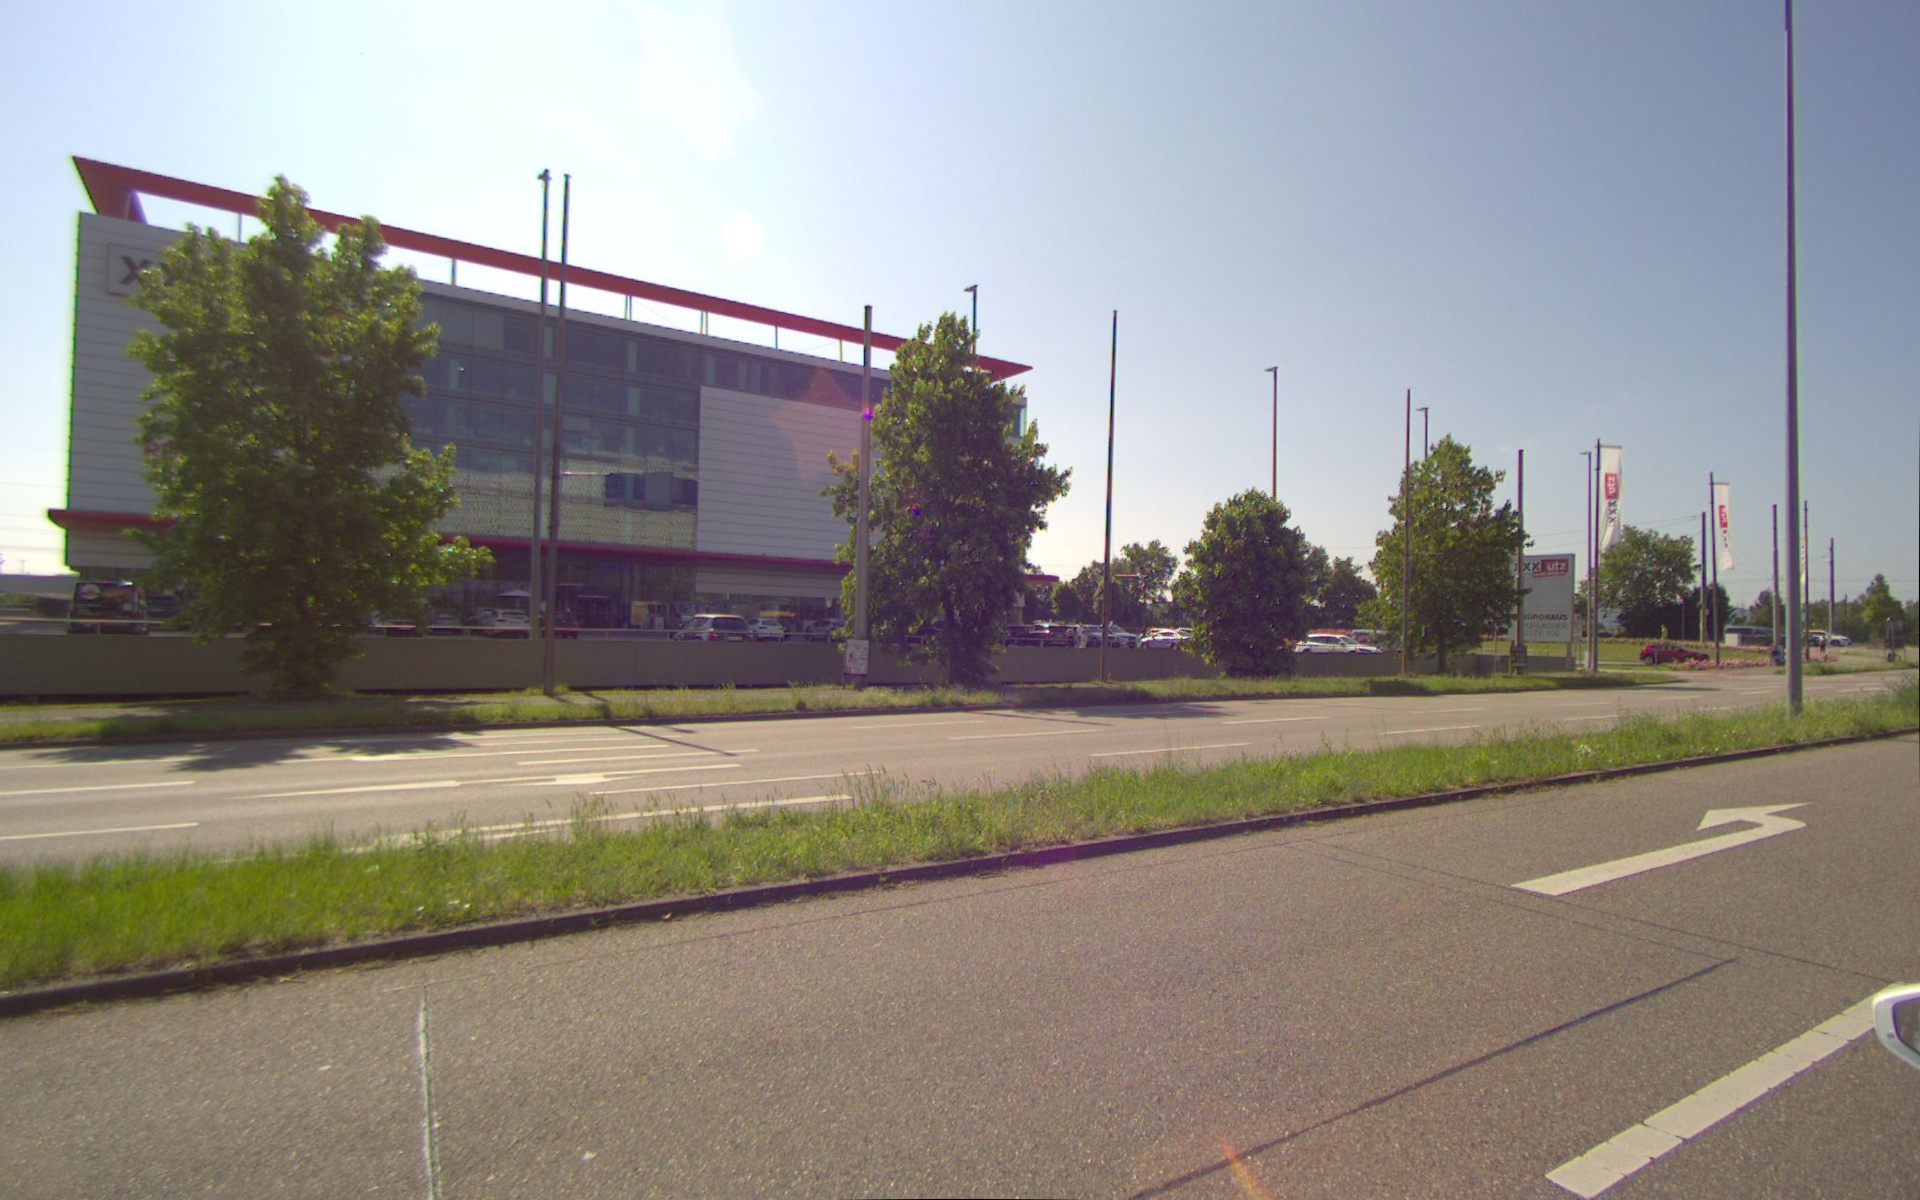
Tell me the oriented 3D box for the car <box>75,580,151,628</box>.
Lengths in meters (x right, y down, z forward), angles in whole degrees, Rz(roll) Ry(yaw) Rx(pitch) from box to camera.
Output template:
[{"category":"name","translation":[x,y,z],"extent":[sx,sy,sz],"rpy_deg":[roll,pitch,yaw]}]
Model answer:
[{"category":"car","translation":[-29.407,0.189,34.935],"extent":[1.757,1.577,2.748],"rpy_deg":[1,-2,-35]}]

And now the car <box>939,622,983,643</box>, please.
[{"category":"car","translation":[0.071,2.228,69.490],"extent":[1.501,1.347,3.067],"rpy_deg":[3,-3,-35]}]

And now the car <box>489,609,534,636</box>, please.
[{"category":"car","translation":[-23.343,1.163,52.213],"extent":[1.501,1.347,3.193],"rpy_deg":[3,-3,-35]}]

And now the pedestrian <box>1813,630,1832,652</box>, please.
[{"category":"pedestrian","translation":[69.968,3.310,81.516],"extent":[0.892,1.729,0.838],"rpy_deg":[1,-2,-23]}]

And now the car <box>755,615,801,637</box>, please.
[{"category":"car","translation":[-12.051,1.698,66.409],"extent":[1.614,1.347,3.641],"rpy_deg":[3,-3,-35]}]

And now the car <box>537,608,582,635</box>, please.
[{"category":"car","translation":[-21.628,1.175,54.224],"extent":[1.501,1.347,3.193],"rpy_deg":[3,-3,-35]}]

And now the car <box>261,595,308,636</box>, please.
[{"category":"car","translation":[-31.320,0.726,46.539],"extent":[1.676,1.781,3.067],"rpy_deg":[3,-3,-35]}]

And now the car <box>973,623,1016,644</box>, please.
[{"category":"car","translation":[2.411,2.346,70.479],"extent":[1.501,1.347,3.067],"rpy_deg":[3,-3,-35]}]

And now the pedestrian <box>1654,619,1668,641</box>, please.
[{"category":"pedestrian","translation":[64.869,2.793,92.986],"extent":[0.907,1.998,0.712],"rpy_deg":[3,-2,-30]}]

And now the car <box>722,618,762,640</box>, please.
[{"category":"car","translation":[-14.291,1.900,65.754],"extent":[1.501,1.347,3.067],"rpy_deg":[3,-3,-35]}]

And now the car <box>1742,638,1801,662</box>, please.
[{"category":"car","translation":[73.884,4.530,91.506],"extent":[1.785,1.951,3.990],"rpy_deg":[1,0,-13]}]

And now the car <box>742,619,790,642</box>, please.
[{"category":"car","translation":[-11.750,1.837,60.785],"extent":[1.687,1.347,3.067],"rpy_deg":[3,-3,-35]}]

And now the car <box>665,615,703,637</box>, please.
[{"category":"car","translation":[-17.543,1.630,63.779],"extent":[1.288,1.347,3.114],"rpy_deg":[3,-3,-35]}]

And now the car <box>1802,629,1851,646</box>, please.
[{"category":"car","translation":[83.039,3.610,96.286],"extent":[1.397,1.519,3.317],"rpy_deg":[3,-3,-38]}]

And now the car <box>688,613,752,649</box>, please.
[{"category":"car","translation":[-7.684,0.970,32.038],"extent":[1.061,1.073,2.495],"rpy_deg":[3,-3,-37]}]

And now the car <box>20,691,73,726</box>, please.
[{"category":"car","translation":[-29.877,3.541,32.879],"extent":[1.061,0.988,1.923],"rpy_deg":[3,-3,-37]}]

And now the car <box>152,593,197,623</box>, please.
[{"category":"car","translation":[-38.013,0.425,48.656],"extent":[1.501,1.347,2.991],"rpy_deg":[3,-3,-35]}]

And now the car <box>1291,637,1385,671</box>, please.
[{"category":"car","translation":[19.874,2.824,52.994],"extent":[1.854,1.649,4.382],"rpy_deg":[2,-2,-36]}]

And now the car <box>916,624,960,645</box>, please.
[{"category":"car","translation":[-1.479,2.337,67.546],"extent":[1.501,1.310,3.067],"rpy_deg":[3,-3,-35]}]

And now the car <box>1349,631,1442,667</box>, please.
[{"category":"car","translation":[24.107,2.705,55.745],"extent":[1.926,1.866,4.384],"rpy_deg":[3,-3,-35]}]

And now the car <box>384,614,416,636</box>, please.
[{"category":"car","translation":[-27.241,1.219,48.856],"extent":[1.061,0.988,1.923],"rpy_deg":[4,-5,-37]}]

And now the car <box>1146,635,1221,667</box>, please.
[{"category":"car","translation":[14.565,3.293,65.722],"extent":[2.012,2.040,4.635],"rpy_deg":[1,-2,-37]}]

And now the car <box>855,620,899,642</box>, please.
[{"category":"car","translation":[-5.398,2.006,65.163],"extent":[1.501,1.347,3.067],"rpy_deg":[3,-3,-35]}]

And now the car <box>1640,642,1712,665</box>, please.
[{"category":"car","translation":[54.346,4.046,76.292],"extent":[1.811,1.626,4.150],"rpy_deg":[4,-3,-39]}]

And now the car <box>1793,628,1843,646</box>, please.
[{"category":"car","translation":[80.063,3.429,93.718],"extent":[1.396,1.519,3.362],"rpy_deg":[3,-3,-36]}]

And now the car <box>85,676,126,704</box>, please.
[{"category":"car","translation":[-33.803,3.561,39.756],"extent":[1.061,0.988,1.923],"rpy_deg":[3,-3,-37]}]

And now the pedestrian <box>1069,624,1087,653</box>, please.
[{"category":"pedestrian","translation":[8.215,2.674,69.875],"extent":[1.006,2.040,0.860],"rpy_deg":[1,-2,-20]}]

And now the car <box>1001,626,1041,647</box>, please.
[{"category":"car","translation":[4.749,2.847,78.191],"extent":[1.289,1.579,3.210],"rpy_deg":[2,-2,-39]}]

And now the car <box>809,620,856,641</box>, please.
[{"category":"car","translation":[-8.033,1.922,63.319],"extent":[1.466,1.214,3.476],"rpy_deg":[3,-3,-35]}]

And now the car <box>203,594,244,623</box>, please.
[{"category":"car","translation":[-36.886,0.432,50.347],"extent":[1.501,1.347,3.067],"rpy_deg":[3,-3,-35]}]
